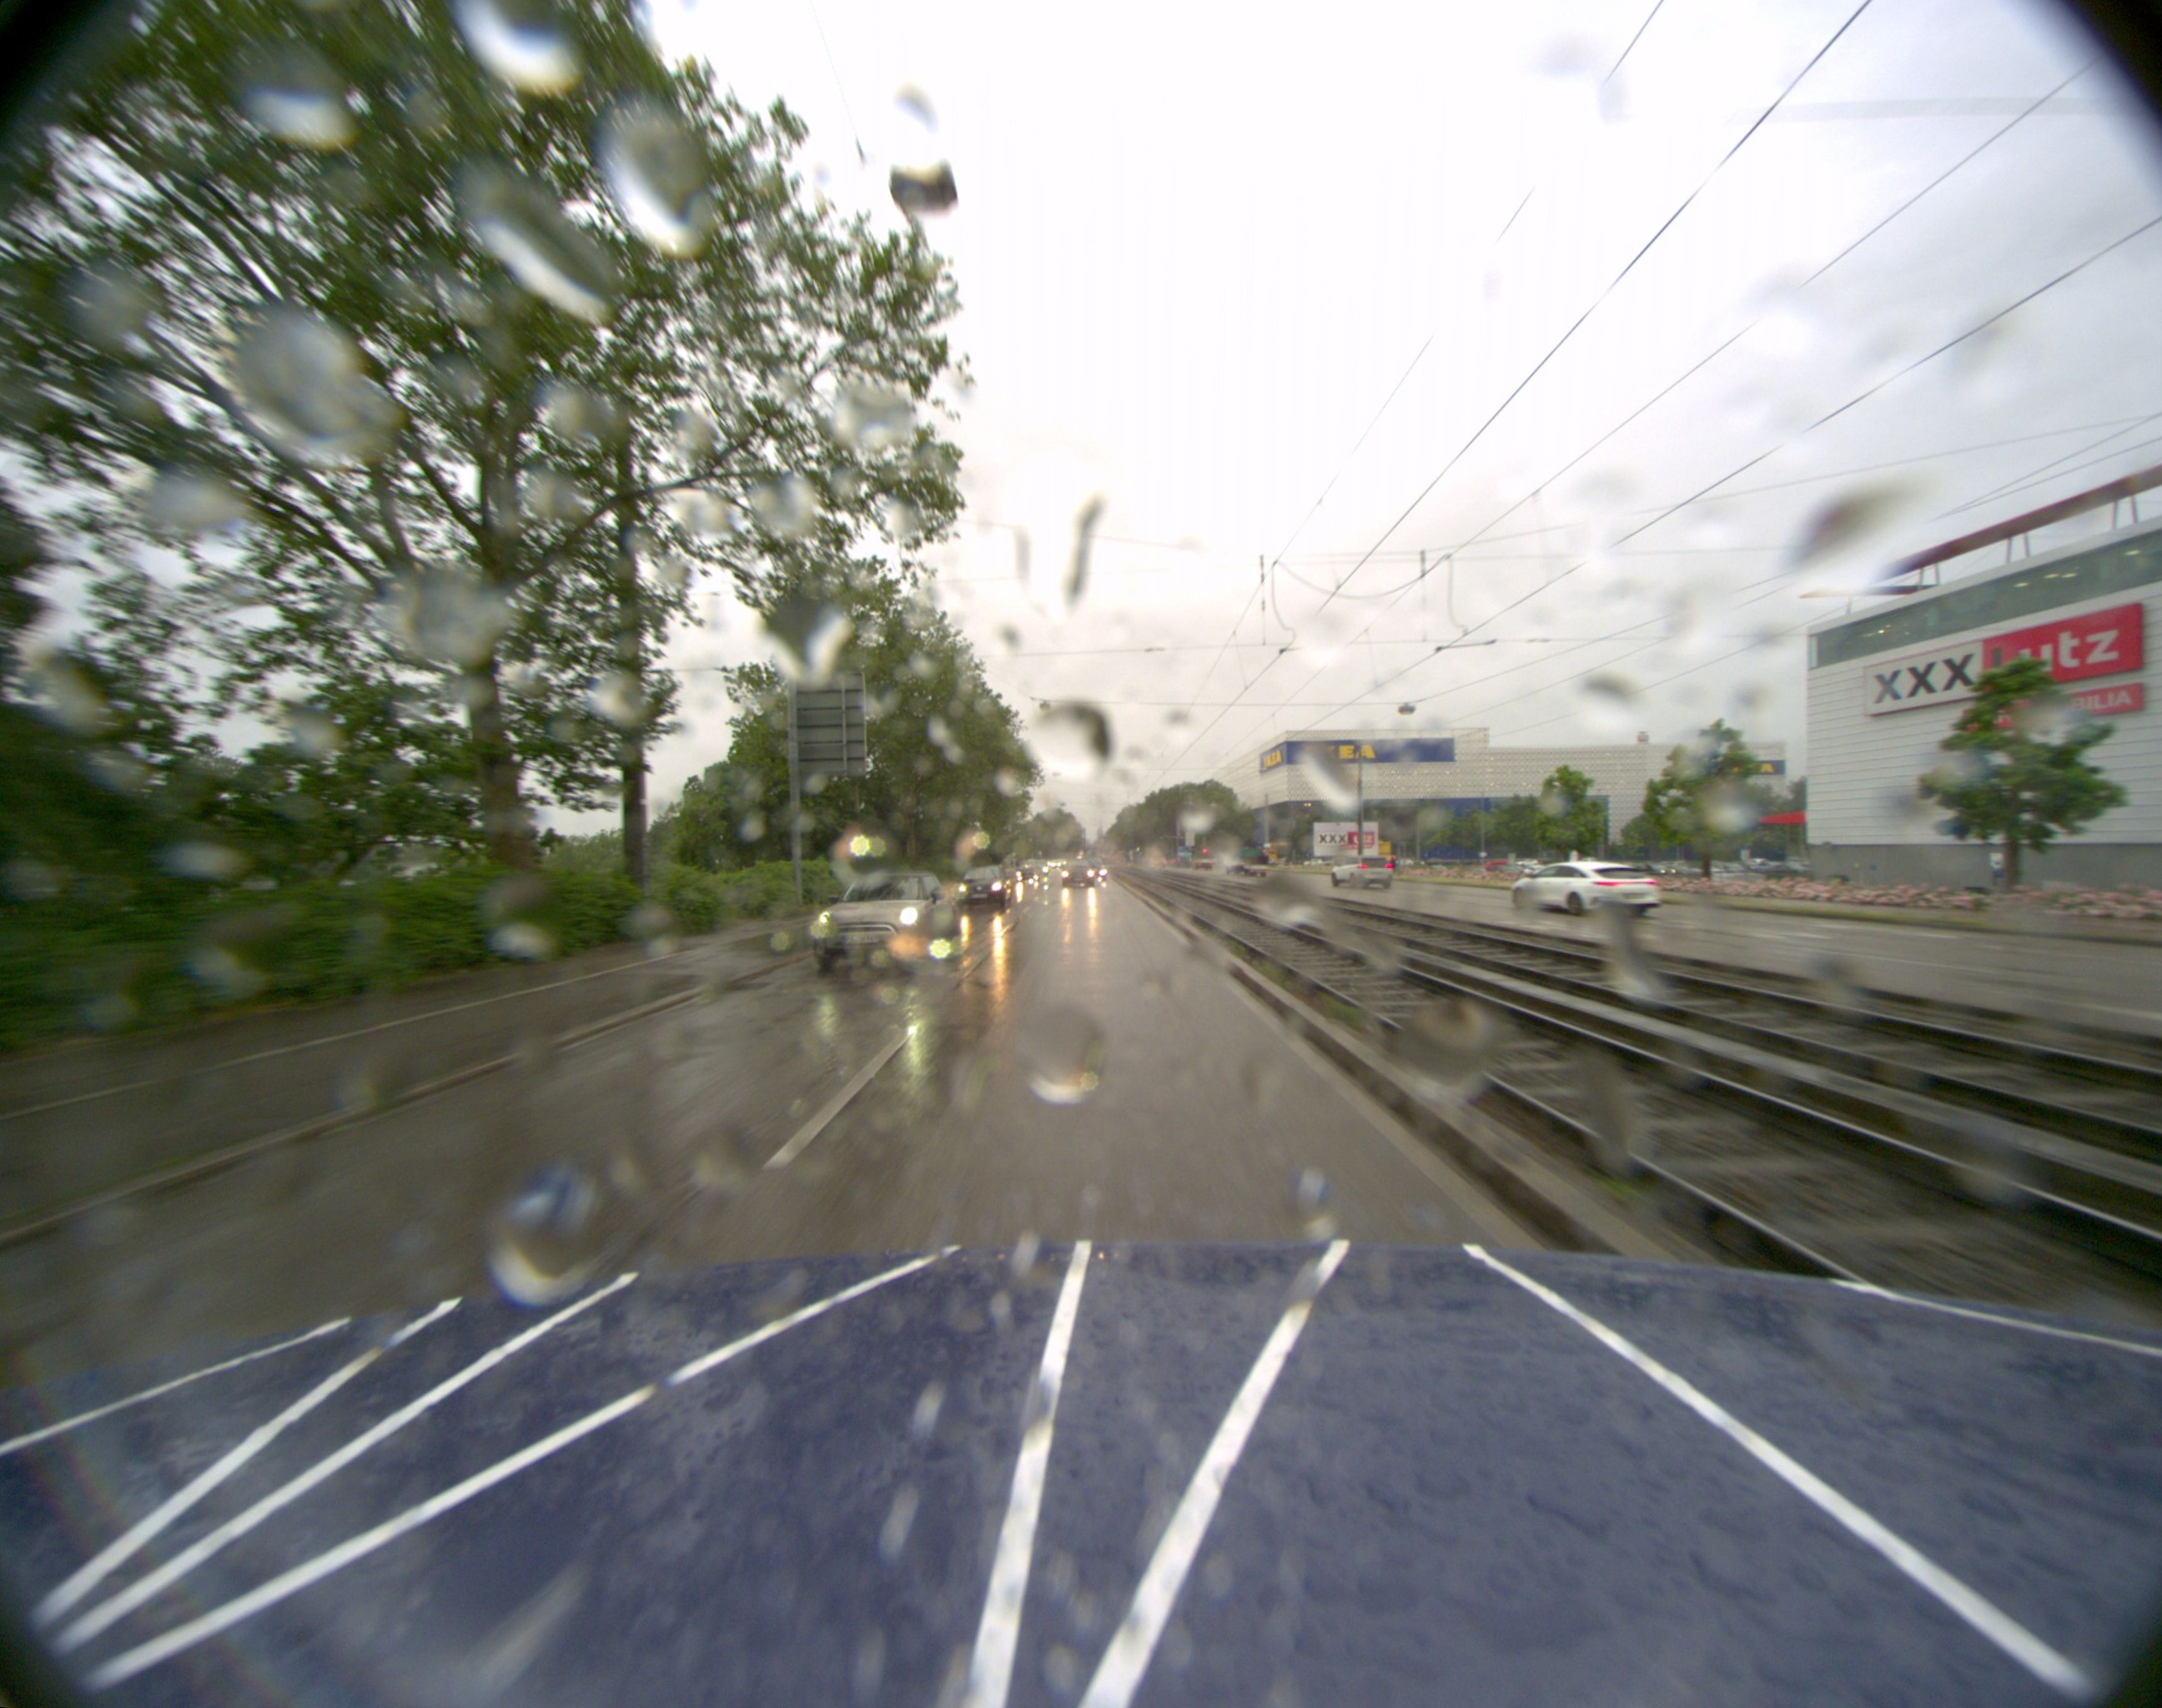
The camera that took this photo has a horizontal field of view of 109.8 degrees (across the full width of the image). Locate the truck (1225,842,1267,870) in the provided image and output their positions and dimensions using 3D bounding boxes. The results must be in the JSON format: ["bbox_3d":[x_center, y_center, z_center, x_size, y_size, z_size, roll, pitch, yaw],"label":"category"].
[{"bbox_3d":[15.151,0.192,70.260,2.441,2.443,7.219,0,0,2],"label":"truck"}]

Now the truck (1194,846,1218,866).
[{"bbox_3d":[16.171,0.245,98.630,2.232,2.447,6.066,1,0,1],"label":"truck"}]

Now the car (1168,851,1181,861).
[{"bbox_3d":[16.004,0.346,130.211,1.862,1.608,4.908,1,1,2],"label":"car"}]

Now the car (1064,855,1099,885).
[{"bbox_3d":[-0.002,0.915,43.447,1.876,1.573,4.043,-3,-1,-1],"label":"car"}]

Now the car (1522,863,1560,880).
[{"bbox_3d":[57.026,2.149,94.223,1.999,2.002,4.090,-4,0,-2],"label":"car"}]

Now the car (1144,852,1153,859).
[{"bbox_3d":[16.524,0.288,185.974,1.877,1.564,4.329,-3,-1,2],"label":"car"}]

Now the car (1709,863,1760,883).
[{"bbox_3d":[71.267,2.070,82.938,1.999,2.002,3.999,-3,1,-2],"label":"car"}]

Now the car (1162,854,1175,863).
[{"bbox_3d":[16.626,0.831,144.894,1.968,1.507,4.554,0,1,1],"label":"car"}]

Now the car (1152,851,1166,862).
[{"bbox_3d":[12.610,0.423,122.657,1.823,1.613,4.536,-1,0,0],"label":"car"}]

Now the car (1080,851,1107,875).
[{"bbox_3d":[0.826,0.656,52.964,1.715,1.515,4.043,-3,-1,0],"label":"car"}]

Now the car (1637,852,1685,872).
[{"bbox_3d":[63.337,0.803,83.050,1.999,2.002,3.999,-3,1,-2],"label":"car"}]

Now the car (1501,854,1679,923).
[{"bbox_3d":[13.869,0.844,21.098,1.776,1.673,4.688,-1,0,0],"label":"car"}]

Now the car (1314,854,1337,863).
[{"bbox_3d":[49.696,0.902,154.509,4.106,1.594,2.000,-3,1,1],"label":"car"}]

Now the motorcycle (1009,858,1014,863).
[{"bbox_3d":[-15.458,1.430,169.032,0.633,1.211,1.449,0,0,12],"label":"motorcycle"}]

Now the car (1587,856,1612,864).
[{"bbox_3d":[106.178,1.151,155.607,3.821,1.399,1.602,-3,1,3],"label":"car"}]

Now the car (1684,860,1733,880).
[{"bbox_3d":[68.307,1.708,82.792,1.999,2.002,3.999,-3,1,-2],"label":"car"}]

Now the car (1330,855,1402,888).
[{"bbox_3d":[14.280,0.840,38.354,1.998,1.574,4.766,0,0,2],"label":"car"}]

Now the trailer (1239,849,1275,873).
[{"bbox_3d":[14.924,0.567,64.640,2.124,1.782,3.836,-3,0,1],"label":"trailer"}]

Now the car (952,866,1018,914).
[{"bbox_3d":[-3.249,1.182,26.433,1.776,1.453,4.092,-3,-1,-1],"label":"car"}]

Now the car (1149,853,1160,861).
[{"bbox_3d":[14.971,0.653,154.543,1.863,1.485,4.689,0,1,0],"label":"car"}]

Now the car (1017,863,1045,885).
[{"bbox_3d":[-3.706,1.447,56.648,1.715,1.476,4.043,-3,-1,0],"label":"car"}]

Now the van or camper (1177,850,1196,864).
[{"bbox_3d":[16.476,0.460,118.514,2.310,2.002,5.686,-1,0,2],"label":"van or camper"}]

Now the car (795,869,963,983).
[{"bbox_3d":[-3.157,1.056,12.688,1.796,1.406,3.853,-2,1,-1],"label":"car"}]

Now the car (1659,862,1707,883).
[{"bbox_3d":[65.669,2.011,82.987,1.999,2.002,3.999,-3,1,-2],"label":"car"}]

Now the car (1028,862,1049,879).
[{"bbox_3d":[-4.052,1.617,73.564,1.715,1.515,4.043,-3,-1,0],"label":"car"}]

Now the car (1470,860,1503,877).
[{"bbox_3d":[52.417,1.908,98.320,1.999,2.002,3.999,-4,0,-2],"label":"car"}]

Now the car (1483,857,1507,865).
[{"bbox_3d":[85.497,1.503,156.950,3.982,1.399,1.602,-3,1,3],"label":"car"}]

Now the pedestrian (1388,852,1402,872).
[{"bbox_3d":[28.148,0.731,68.123,0.824,1.752,1.050,-4,1,3],"label":"pedestrian"}]
